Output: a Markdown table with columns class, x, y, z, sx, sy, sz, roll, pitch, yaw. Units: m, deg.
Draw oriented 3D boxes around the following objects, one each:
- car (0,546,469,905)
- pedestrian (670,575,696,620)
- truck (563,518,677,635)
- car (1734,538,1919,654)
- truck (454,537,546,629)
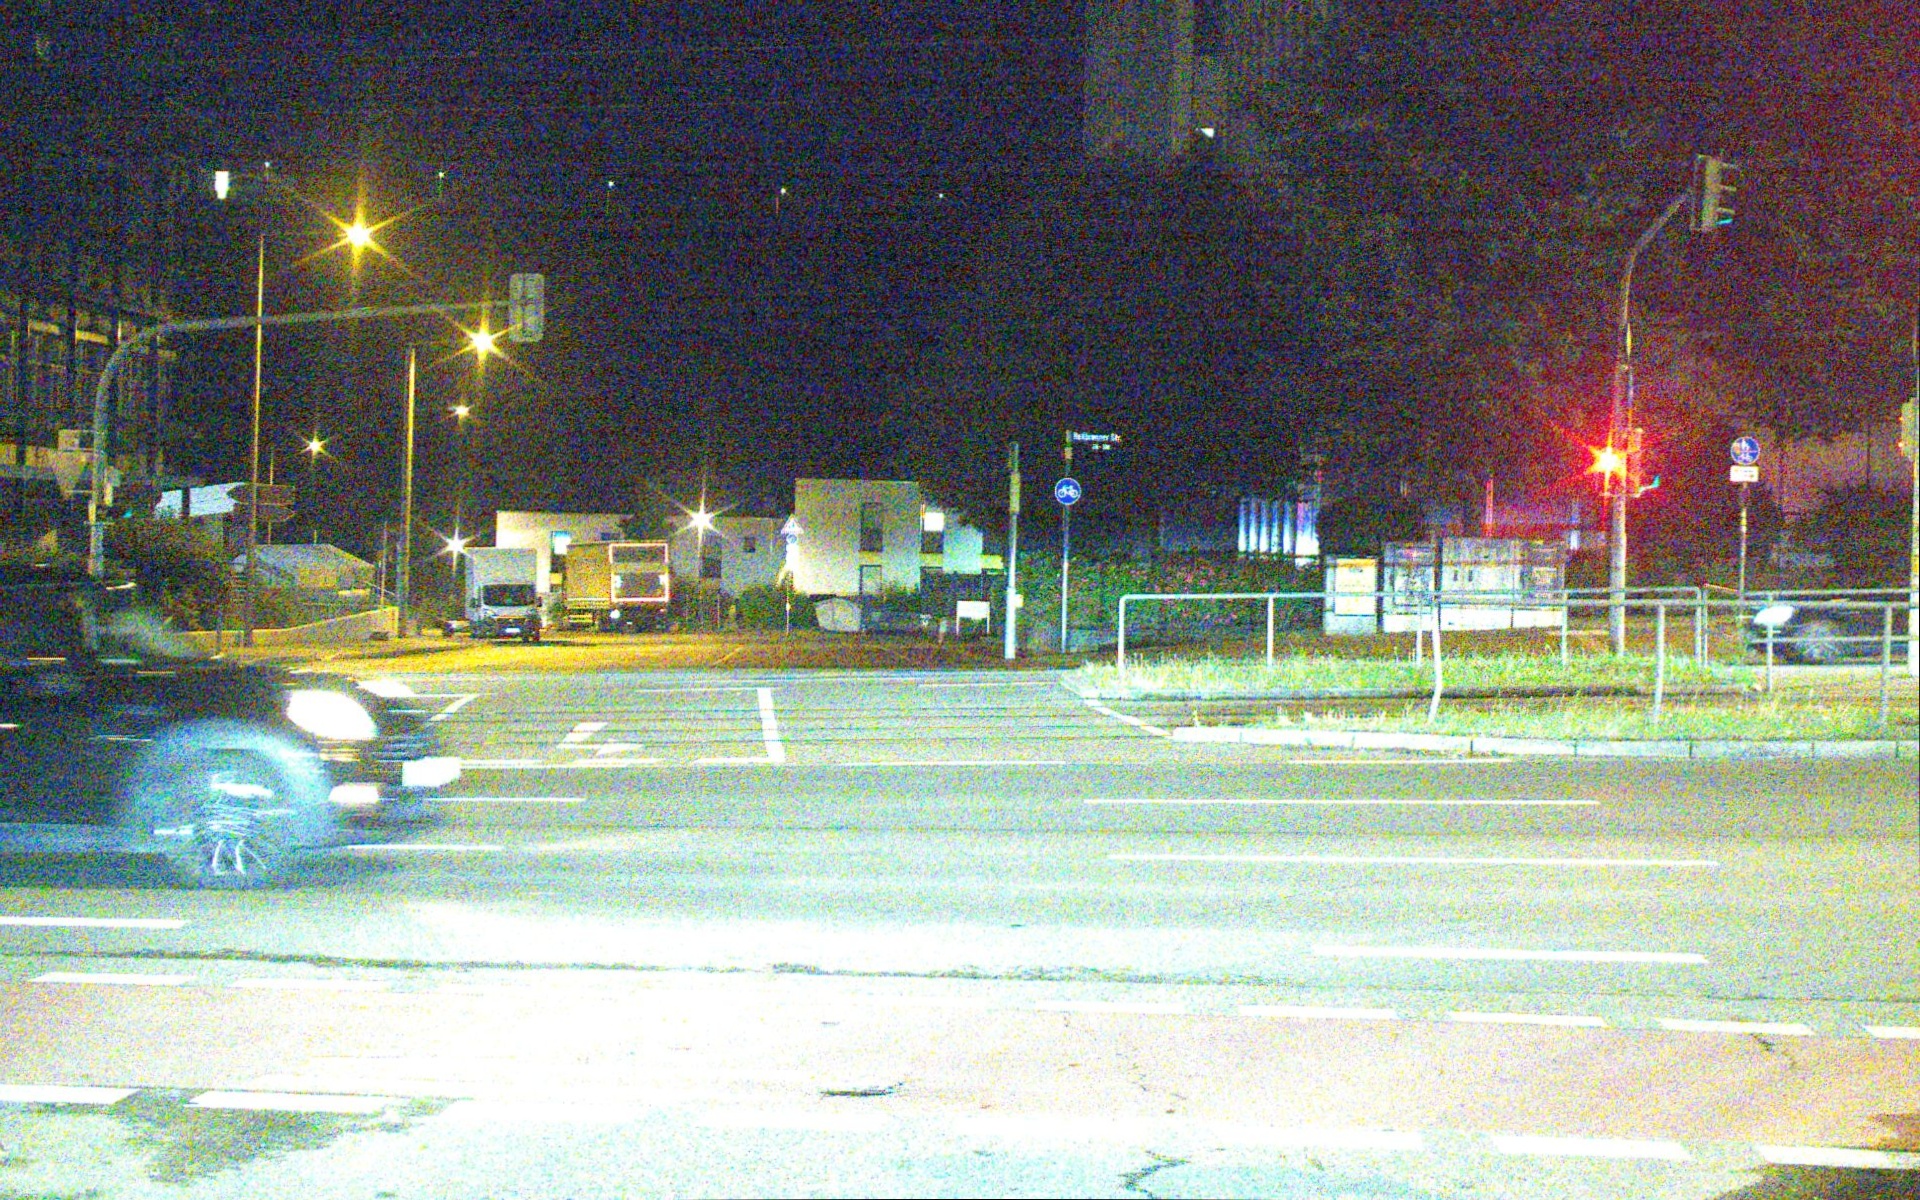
| class | x | y | z | sx | sy | sz | roll | pitch | yaw |
| --- | --- | --- | --- | --- | --- | --- | --- | --- | --- |
| car | -4.335 | 0.552 | 15.805 | 3.876 | 1.468 | 1.659 | -1 | 3 | 1 |
| pedestrian | -11.883 | -0.112 | 147.545 | 0.849 | 1.905 | 1.007 | 1 | 0 | -18 |
| truck | -14.772 | -0.998 | 148.855 | 3.359 | 4.826 | 7.908 | 1 | 0 | -17 |
| car | 11.962 | -0.062 | 42.637 | 4.327 | 1.383 | 1.843 | -1 | 0 | 3 |
| truck | -16.050 | -0.589 | 119.695 | 2.417 | 3.078 | 6.439 | 1 | 0 | -14 |
